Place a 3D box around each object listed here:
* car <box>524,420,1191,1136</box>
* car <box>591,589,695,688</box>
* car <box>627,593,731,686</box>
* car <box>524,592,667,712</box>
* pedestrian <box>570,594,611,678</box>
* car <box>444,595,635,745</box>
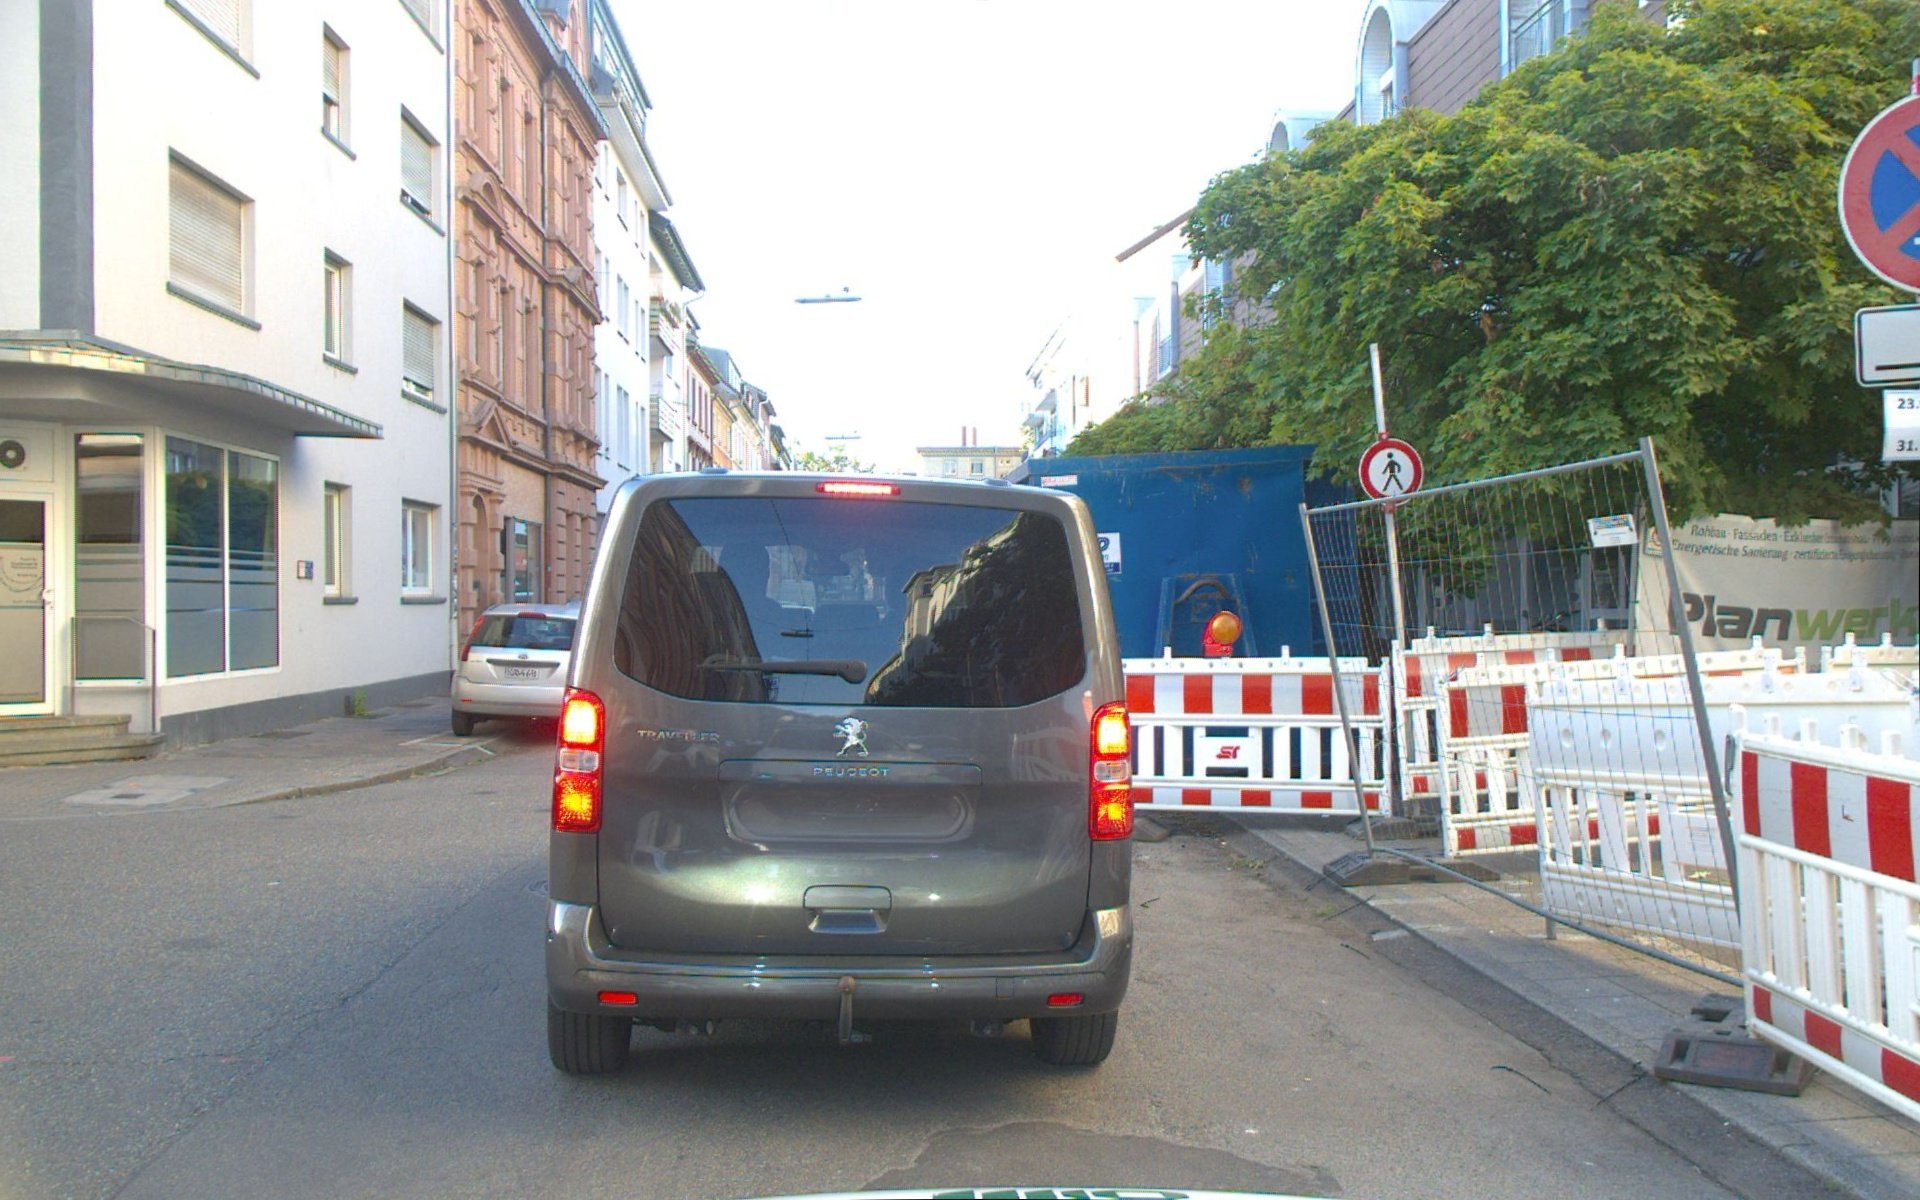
[{"bbox_3d":[-0.499,0.500,6.660,1.829,1.919,4.229,0,-1,-7],"label":"car"},{"bbox_3d":[-6.023,0.712,31.701,1.635,1.695,3.087,4,-1,-7],"label":"car"},{"bbox_3d":[-5.942,0.817,35.345,1.856,1.749,3.748,4,-1,-7],"label":"car"},{"bbox_3d":[-5.350,0.739,24.629,1.625,1.552,3.413,4,-1,-7],"label":"car"},{"bbox_3d":[-7.540,0.728,33.763,0.726,1.693,0.702,-1,0,-8],"label":"pedestrian"},{"bbox_3d":[-4.810,0.770,19.328,1.625,1.485,3.413,4,-1,-7],"label":"car"}]
